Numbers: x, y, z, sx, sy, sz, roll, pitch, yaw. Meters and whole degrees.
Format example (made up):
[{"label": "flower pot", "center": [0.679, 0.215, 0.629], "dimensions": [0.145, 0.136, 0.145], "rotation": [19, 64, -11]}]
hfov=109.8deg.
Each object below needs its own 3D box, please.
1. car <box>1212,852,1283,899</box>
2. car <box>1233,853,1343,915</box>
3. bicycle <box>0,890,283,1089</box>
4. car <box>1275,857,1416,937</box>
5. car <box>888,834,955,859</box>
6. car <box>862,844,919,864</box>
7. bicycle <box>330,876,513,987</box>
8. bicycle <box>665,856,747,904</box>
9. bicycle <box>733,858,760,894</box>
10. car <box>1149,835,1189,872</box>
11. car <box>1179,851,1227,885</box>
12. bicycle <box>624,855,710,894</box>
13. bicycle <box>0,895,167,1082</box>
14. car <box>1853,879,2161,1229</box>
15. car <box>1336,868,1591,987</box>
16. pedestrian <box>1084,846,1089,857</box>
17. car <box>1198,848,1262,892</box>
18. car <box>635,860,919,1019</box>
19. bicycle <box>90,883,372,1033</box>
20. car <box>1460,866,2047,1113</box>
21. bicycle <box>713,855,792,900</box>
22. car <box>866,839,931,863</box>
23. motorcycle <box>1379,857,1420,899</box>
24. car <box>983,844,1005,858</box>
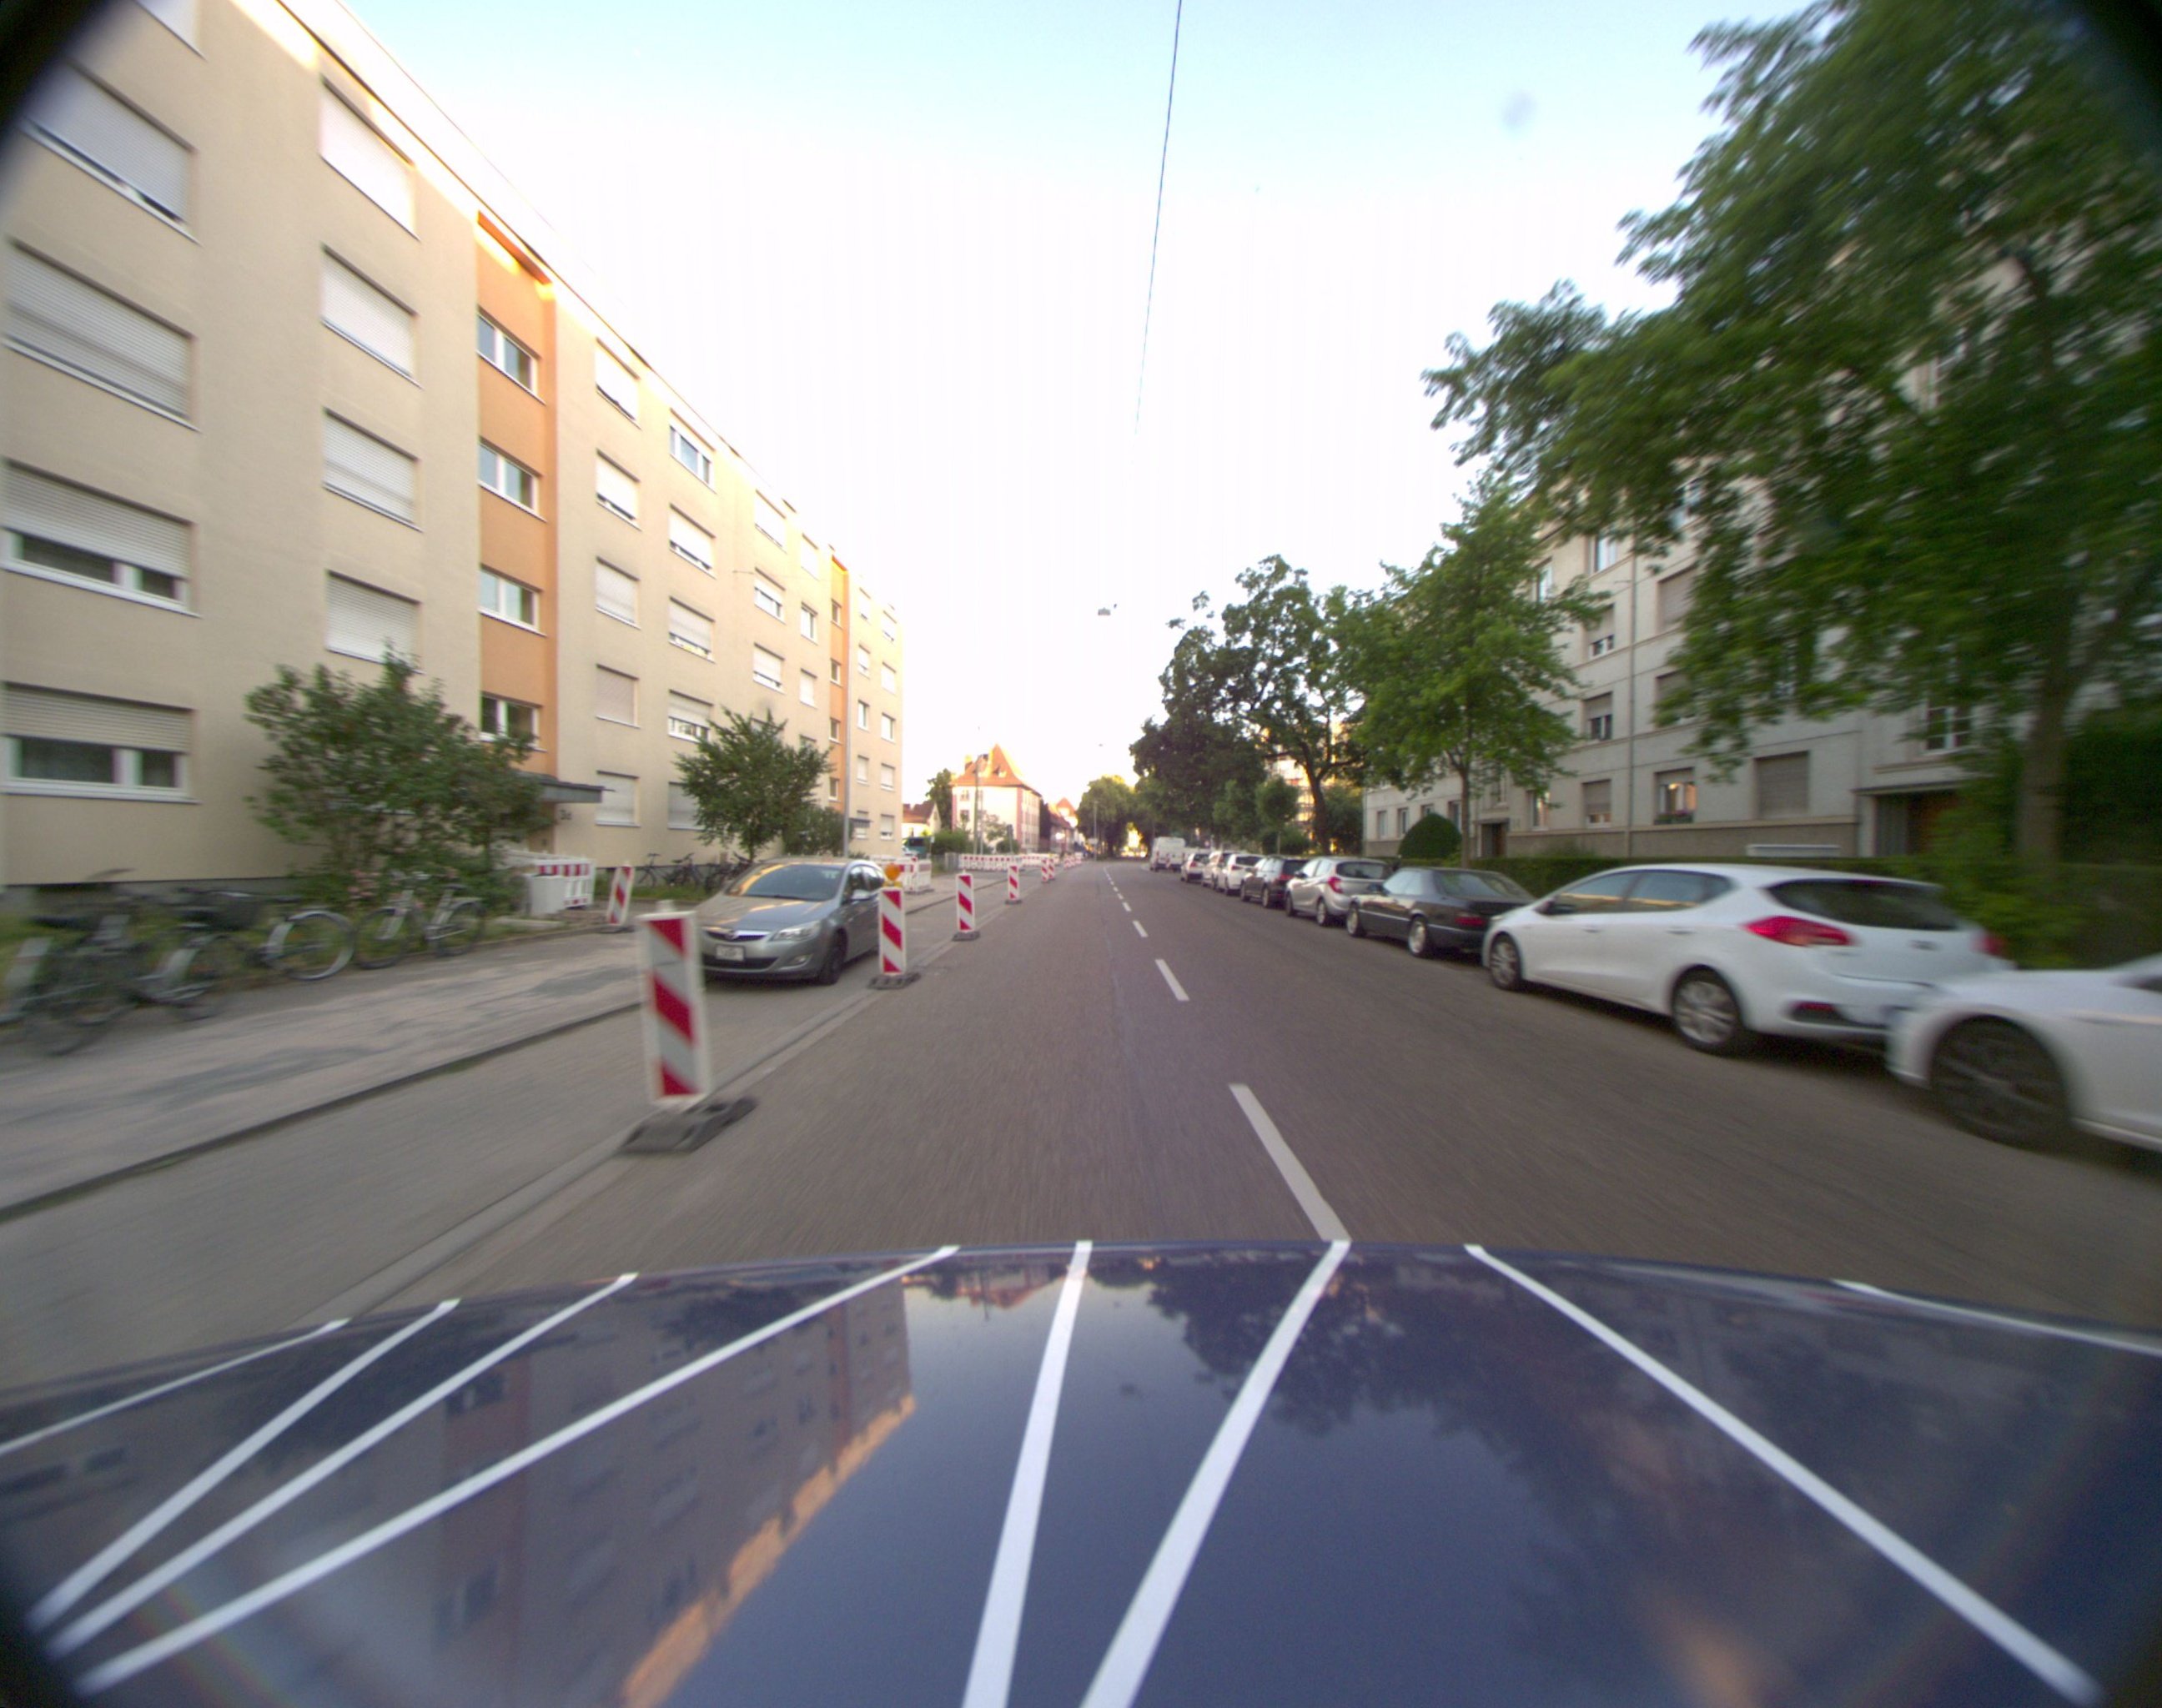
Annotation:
[{"label": "car", "center": [5.894, 0.722, 27.340], "dimensions": [1.756, 1.471, 3.944], "rotation": [3, 1, 2]}, {"label": "car", "center": [5.794, 0.778, 21.875], "dimensions": [1.757, 1.471, 4.677], "rotation": [3, 1, -1]}, {"label": "bicycle", "center": [-6.978, 0.902, 5.709], "dimensions": [0.558, 1.165, 1.813], "rotation": [0, 1, -19]}, {"label": "car", "center": [5.732, 0.867, 16.955], "dimensions": [1.679, 1.451, 3.704], "rotation": [3, 1, -2]}, {"label": "car", "center": [-13.529, -0.646, 64.591], "dimensions": [5.030, 2.117, 2.291], "rotation": [0, 1, 8]}, {"label": "car", "center": [-14.263, -0.009, 56.982], "dimensions": [3.839, 1.444, 1.695], "rotation": [1, 1, 3]}, {"label": "bicycle", "center": [-7.964, 0.880, 9.299], "dimensions": [0.557, 1.165, 1.817], "rotation": [0, 1, 4]}, {"label": "bicycle", "center": [-9.180, 0.617, 18.624], "dimensions": [1.755, 0.981, 0.558], "rotation": [5, 2, 10]}, {"label": "bicycle", "center": [-9.533, 0.606, 21.652], "dimensions": [0.559, 0.860, 1.610], "rotation": [4, 2, -27]}, {"label": "car", "center": [6.469, -0.069, 56.664], "dimensions": [2.184, 2.447, 6.102], "rotation": [3, 1, 1]}, {"label": "car", "center": [5.925, 0.637, 37.335], "dimensions": [1.756, 1.463, 4.224], "rotation": [3, 1, 2]}, {"label": "bicycle", "center": [-10.658, 0.538, 19.595], "dimensions": [1.821, 0.916, 0.556], "rotation": [4, 2, -40]}, {"label": "bicycle", "center": [-7.505, 0.919, 5.215], "dimensions": [0.628, 1.165, 1.814], "rotation": [0, 1, -15]}, {"label": "car", "center": [5.522, 0.941, 2.327], "dimensions": [1.696, 1.451, 4.483], "rotation": [3, 1, 1]}, {"label": "car", "center": [5.689, 0.986, 12.081], "dimensions": [1.678, 1.324, 4.579], "rotation": [3, 1, 0]}, {"label": "pedestrian", "center": [0.818, -0.392, 114.079], "dimensions": [0.716, 1.600, 0.518], "rotation": [0, 1, -4]}, {"label": "car", "center": [6.152, 0.629, 31.854], "dimensions": [1.757, 1.622, 4.106], "rotation": [3, 1, -1]}, {"label": "car", "center": [-3.692, 0.916, 10.266], "dimensions": [1.780, 1.482, 4.573], "rotation": [4, 1, 2]}, {"label": "bicycle", "center": [-7.945, 0.905, 7.250], "dimensions": [0.557, 1.165, 1.817], "rotation": [0, 1, 4]}, {"label": "car", "center": [5.507, 0.940, 7.124], "dimensions": [1.696, 1.451, 4.144], "rotation": [3, 1, -1]}, {"label": "bicycle", "center": [-8.781, 0.626, 20.354], "dimensions": [1.815, 1.017, 0.558], "rotation": [5, 2, 2]}, {"label": "car", "center": [-14.282, -0.267, 59.636], "dimensions": [4.489, 1.800, 2.005], "rotation": [1, 1, 3]}, {"label": "motorcycle", "center": [10.359, 0.755, 24.796], "dimensions": [0.588, 1.317, 1.828], "rotation": [0, 1, 1]}, {"label": "car", "center": [-10.110, -0.357, 88.583], "dimensions": [1.919, 1.620, 4.808], "rotation": [0, 1, 2]}]
